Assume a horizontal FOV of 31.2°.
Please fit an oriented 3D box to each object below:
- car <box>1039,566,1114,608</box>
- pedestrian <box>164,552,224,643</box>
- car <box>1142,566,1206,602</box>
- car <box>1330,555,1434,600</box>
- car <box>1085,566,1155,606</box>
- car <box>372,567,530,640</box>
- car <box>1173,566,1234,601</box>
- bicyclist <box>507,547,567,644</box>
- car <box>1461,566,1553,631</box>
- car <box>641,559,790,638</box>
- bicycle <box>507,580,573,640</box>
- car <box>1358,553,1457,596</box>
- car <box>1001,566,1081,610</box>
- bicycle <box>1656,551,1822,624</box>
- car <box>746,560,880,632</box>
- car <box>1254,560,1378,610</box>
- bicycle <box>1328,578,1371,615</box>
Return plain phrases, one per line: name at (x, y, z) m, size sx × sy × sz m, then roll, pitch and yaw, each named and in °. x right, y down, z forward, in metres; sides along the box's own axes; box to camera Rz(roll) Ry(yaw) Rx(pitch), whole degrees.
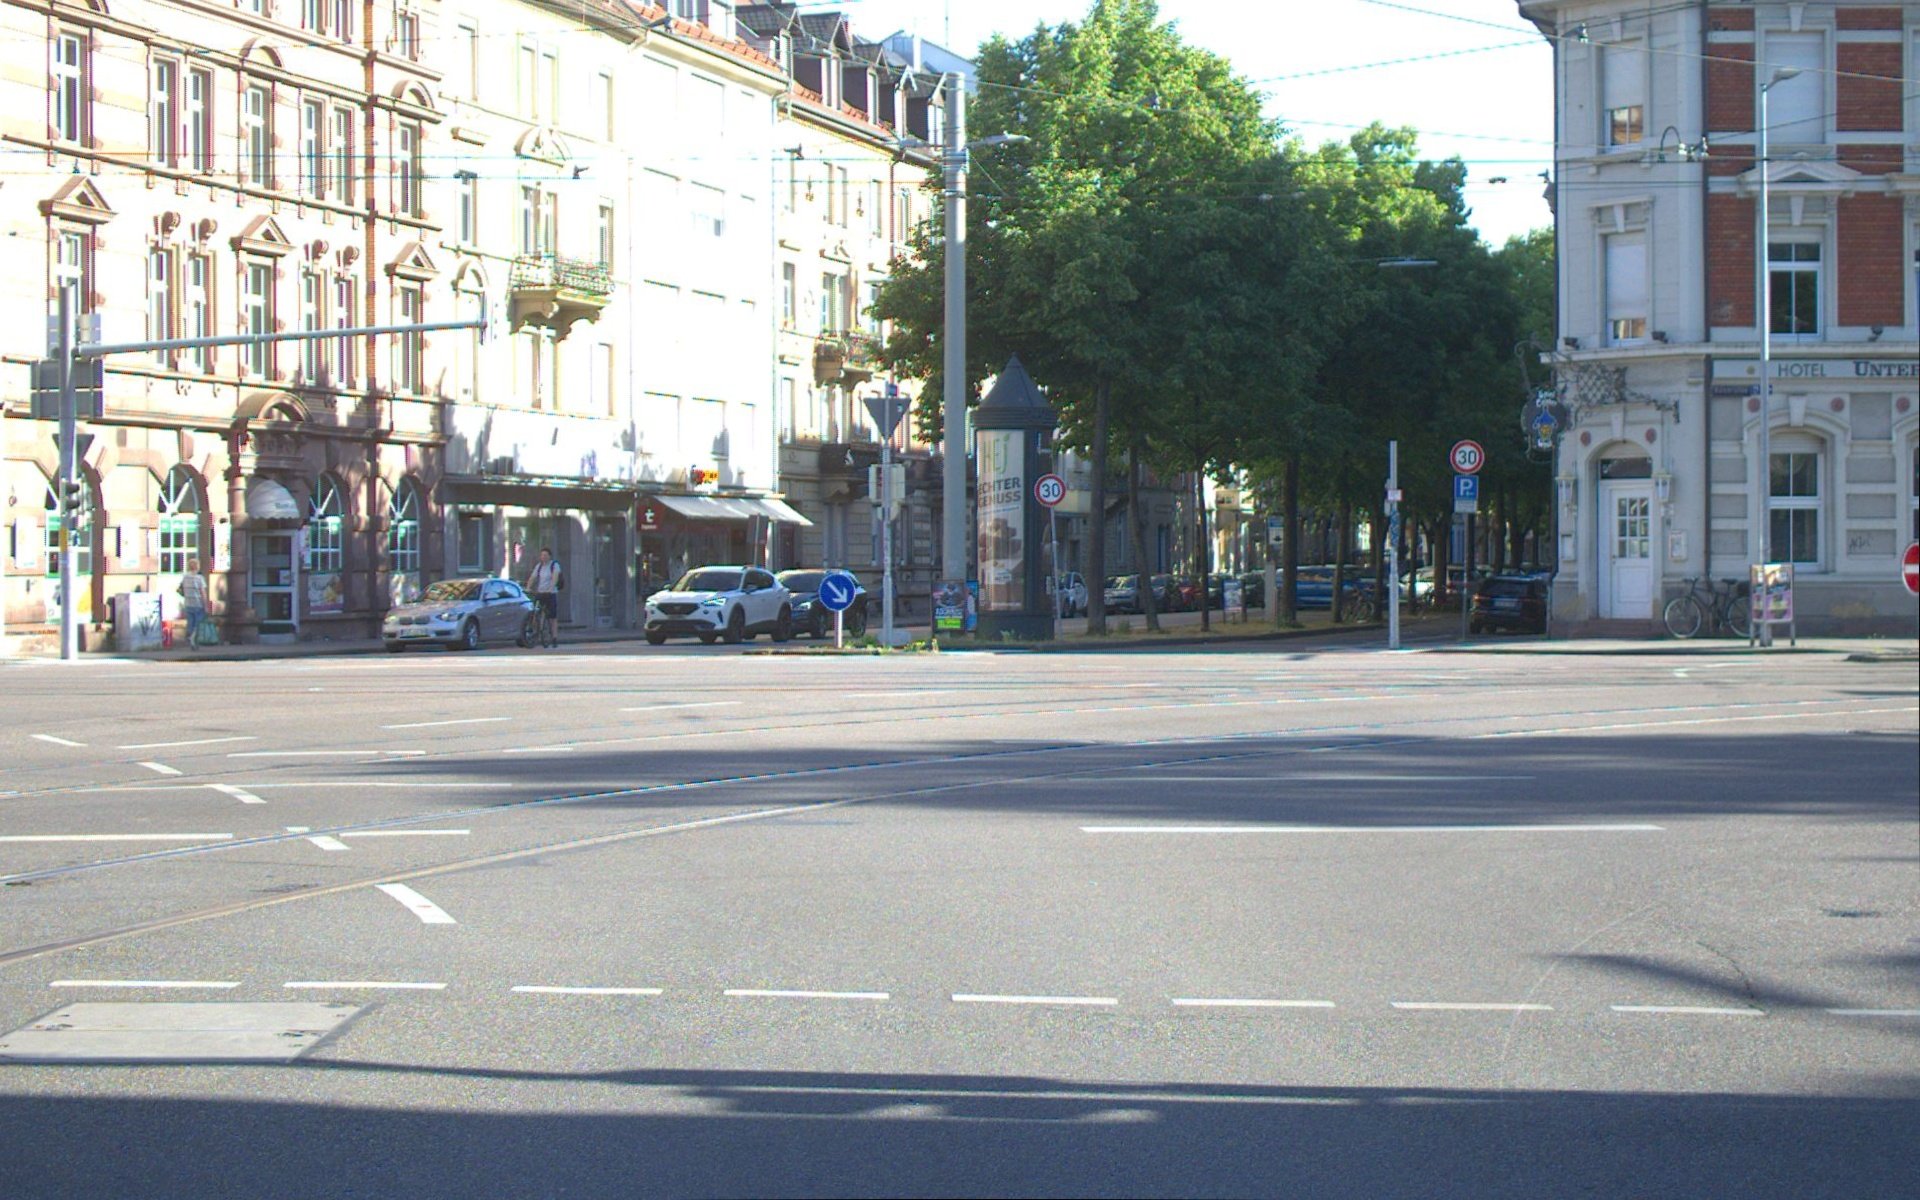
car at (3.938, -0.448, 115.476) m, size 1.678 × 1.349 × 3.588 m, roll 0°, pitch 1°, yaw 17°
pedestrian at (-14.213, -0.054, 63.775) m, size 0.776 × 1.664 × 0.830 m, roll 1°, pitch 0°, yaw 15°
car at (8.145, -0.620, 130.744) m, size 1.678 × 1.349 × 3.588 m, roll 0°, pitch 1°, yaw 17°
car at (15.718, -0.852, 128.030) m, size 3.582 × 1.642 × 1.681 m, roll 0°, pitch 1°, yaw 17°
car at (5.709, -0.514, 122.437) m, size 1.678 × 1.349 × 3.588 m, roll 0°, pitch 1°, yaw 17°
car at (-9.867, 0.053, 66.906) m, size 1.678 × 1.349 × 3.588 m, roll 0°, pitch 1°, yaw 17°
car at (9.617, -0.659, 135.774) m, size 1.678 × 1.349 × 3.588 m, roll 0°, pitch 1°, yaw 17°
bicyclist at (-8.010, -0.090, 65.135) m, size 0.779 × 1.797 × 1.055 m, roll 1°, pitch 0°, yaw 14°
car at (13.154, -0.061, 82.570) m, size 1.678 × 1.478 × 3.945 m, roll 0°, pitch 1°, yaw 16°
car at (-4.757, -0.054, 67.310) m, size 1.678 × 1.478 × 3.768 m, roll 0°, pitch 1°, yaw 17°
bicycle at (-7.974, 0.182, 65.261) m, size 0.702 × 1.114 × 1.634 m, roll 1°, pitch 1°, yaw 13°
car at (17.392, -1.007, 133.503) m, size 3.582 × 1.642 × 1.681 m, roll 0°, pitch 1°, yaw 17°
car at (2.641, -0.405, 111.319) m, size 1.678 × 1.349 × 3.588 m, roll 0°, pitch 1°, yaw 17°
bicycle at (12.974, -0.210, 57.272) m, size 2.554 × 1.170 × 0.819 m, roll 1°, pitch 0°, yaw -3°
car at (-3.115, -0.105, 73.612) m, size 1.678 × 1.478 × 3.945 m, roll 0°, pitch 1°, yaw 16°
car at (11.996, -0.514, 115.674) m, size 3.905 × 1.642 × 1.681 m, roll 0°, pitch 1°, yaw 17°
bicycle at (11.266, -0.108, 99.480) m, size 0.636 × 1.018 × 1.847 m, roll 1°, pitch 1°, yaw -14°
